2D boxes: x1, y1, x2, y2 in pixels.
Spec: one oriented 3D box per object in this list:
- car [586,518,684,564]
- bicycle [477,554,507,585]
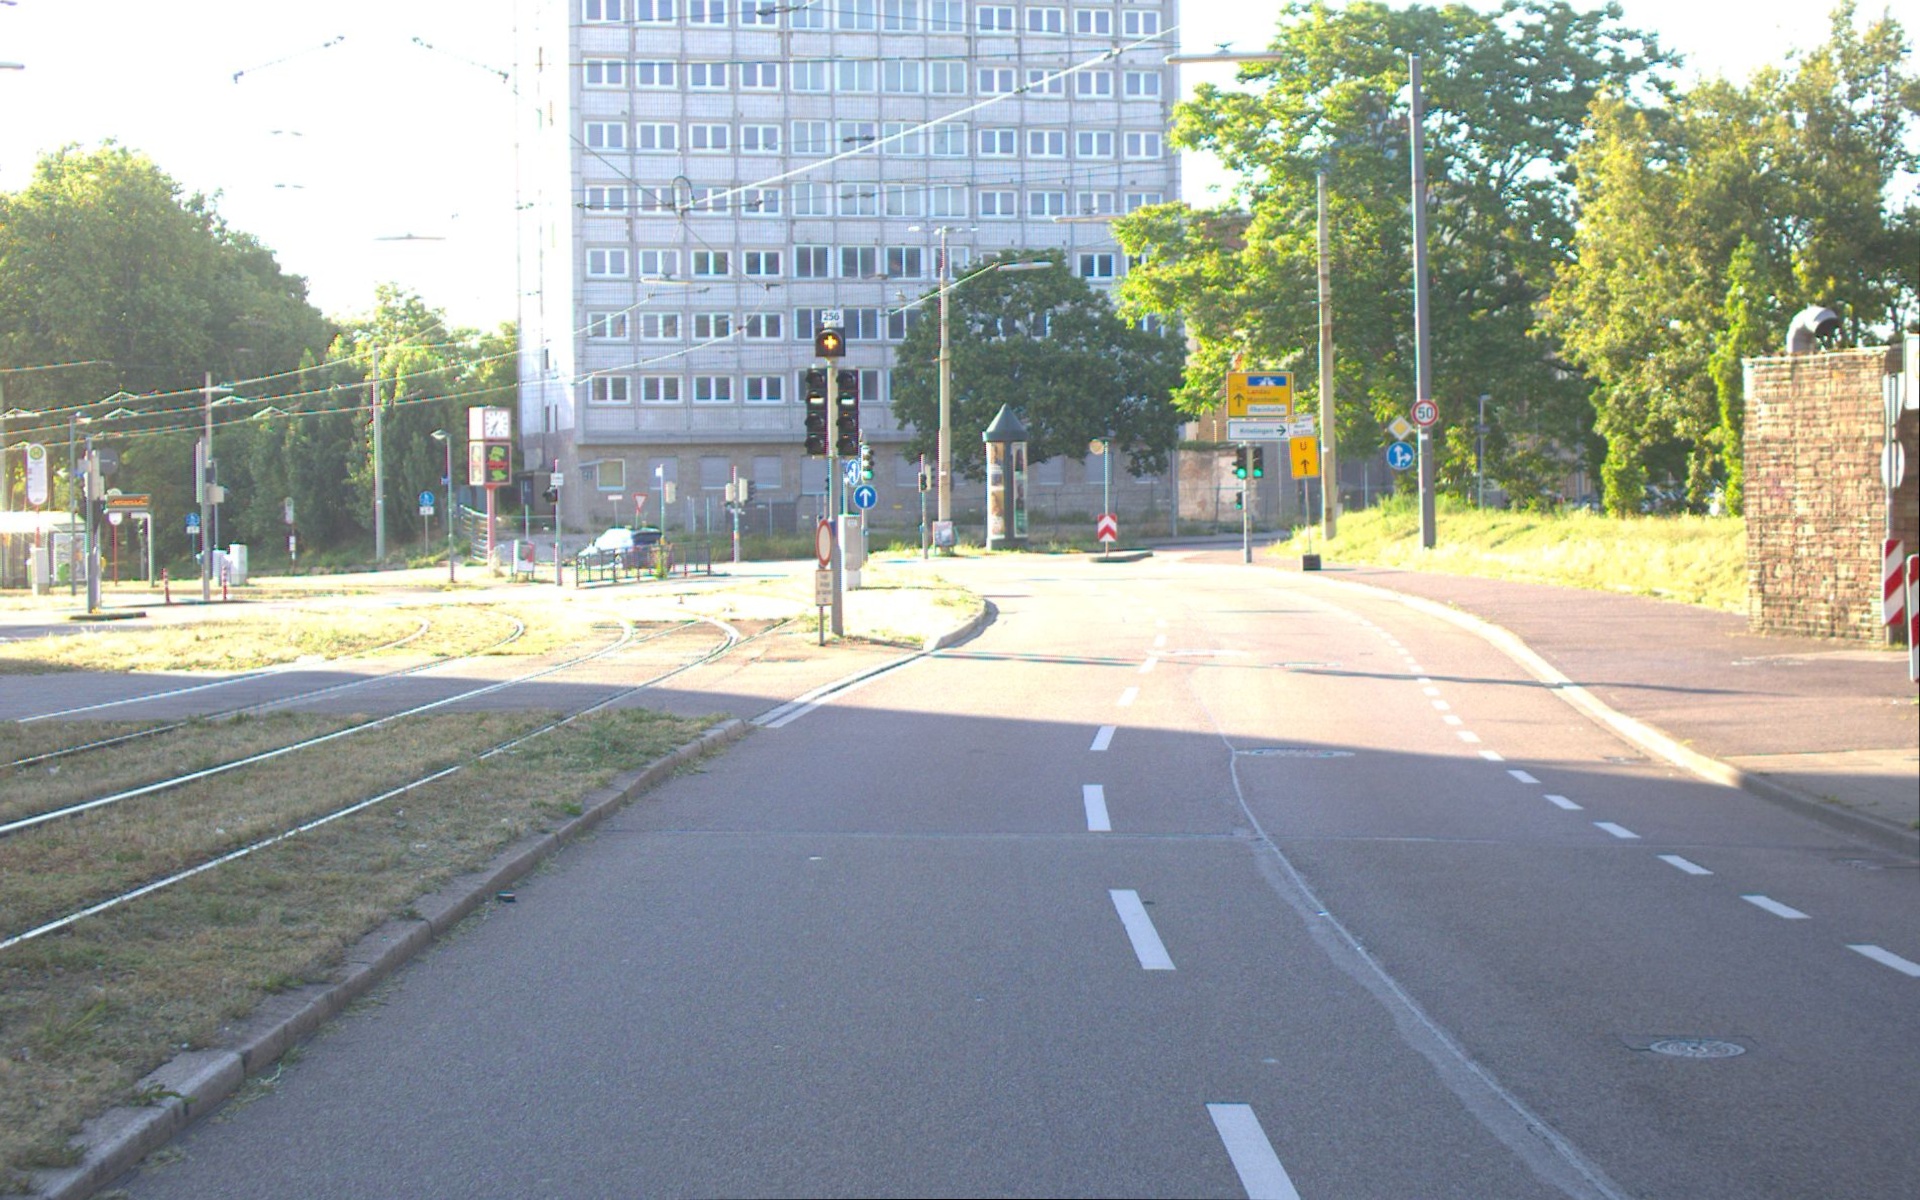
[{"bbox_3d":[-10.598,-1.902,111.961,1.772,1.417,3.856,-3,2,-28],"label":"car"},{"bbox_3d":[-14.699,-0.957,108.033,0.553,0.914,1.743,-3,2,3],"label":"bicycle"}]
